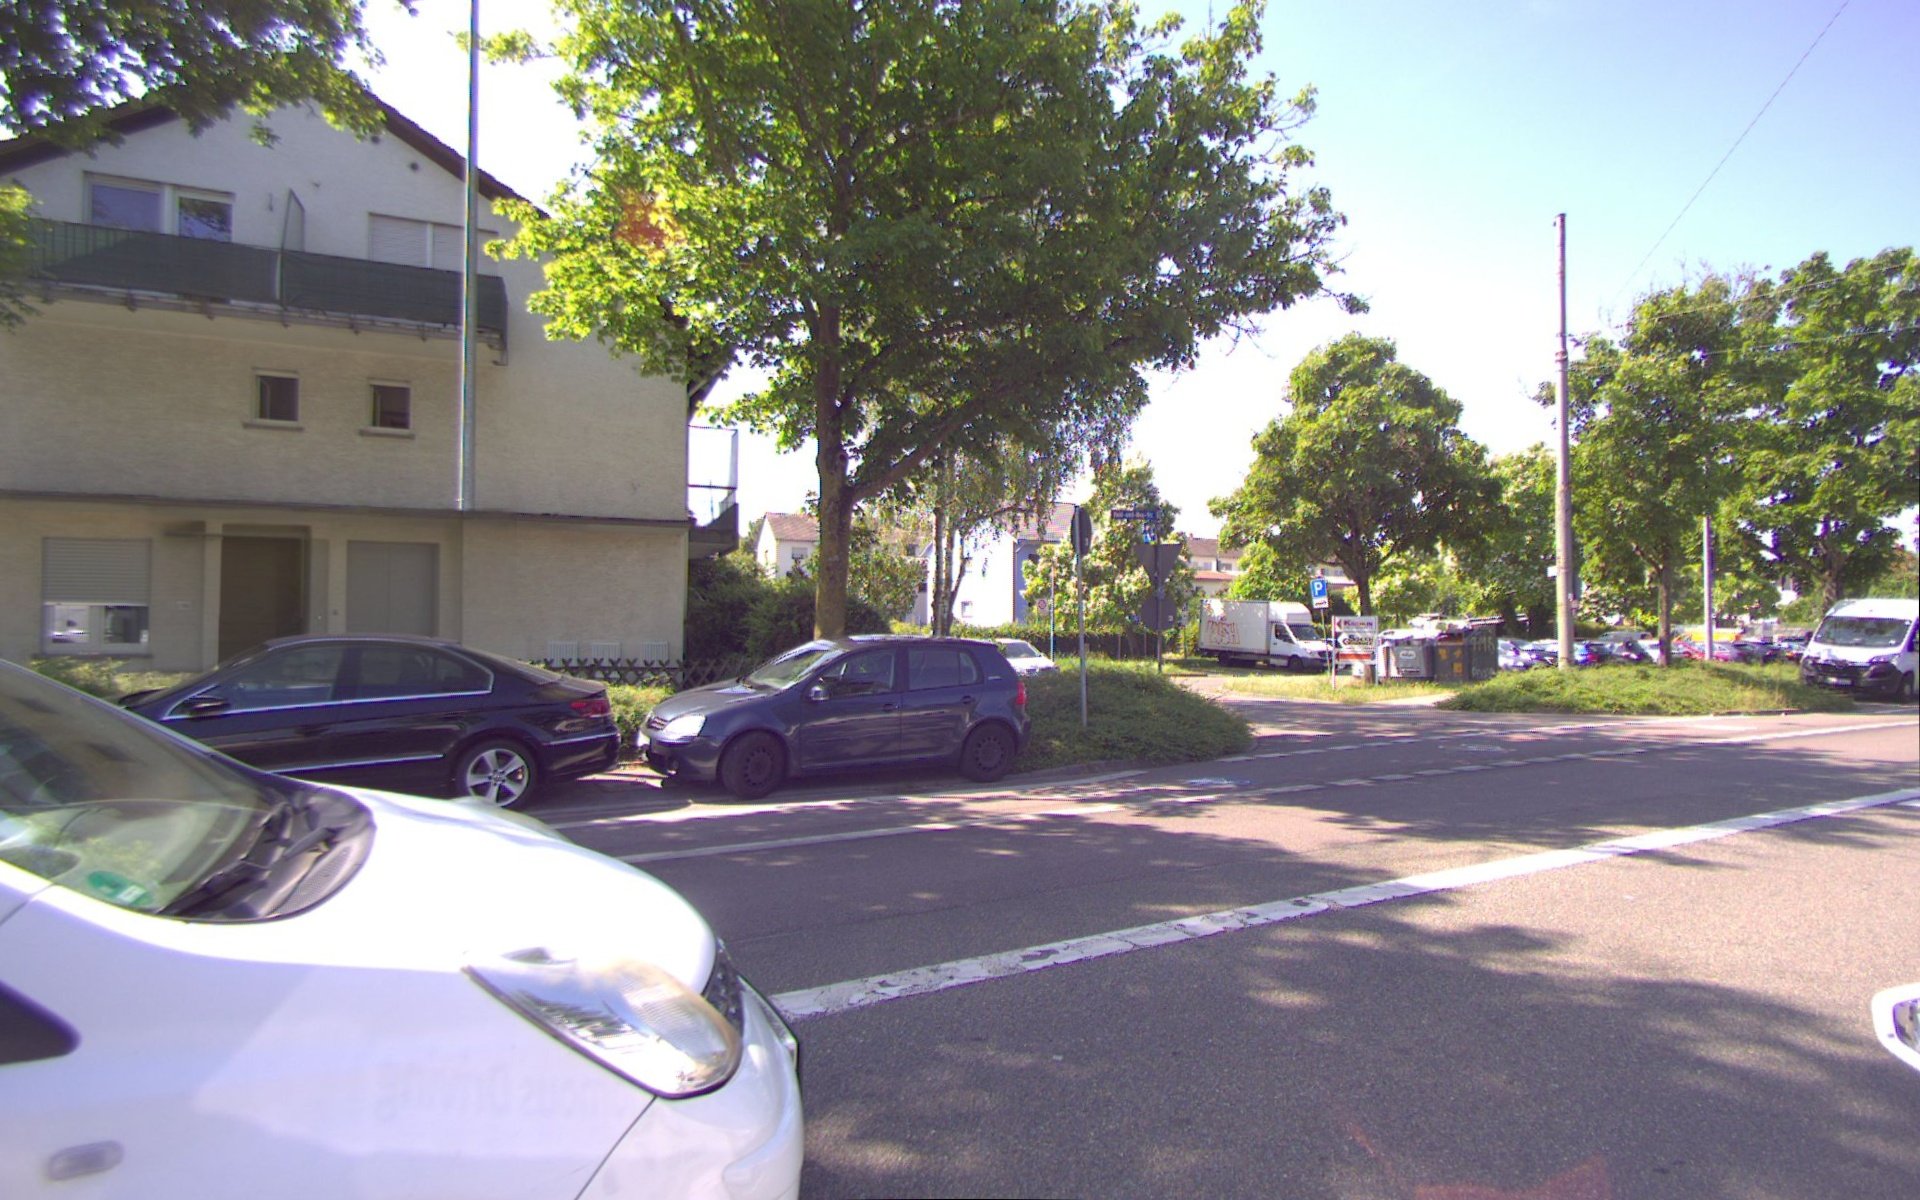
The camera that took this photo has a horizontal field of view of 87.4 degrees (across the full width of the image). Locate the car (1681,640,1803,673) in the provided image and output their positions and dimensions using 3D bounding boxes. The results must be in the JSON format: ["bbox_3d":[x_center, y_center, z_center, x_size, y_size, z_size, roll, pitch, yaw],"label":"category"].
[{"bbox_3d":[34.934,2.527,44.968,1.712,1.434,3.964,2,-4,-33],"label":"car"}]

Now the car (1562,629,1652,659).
[{"bbox_3d":[44.549,2.984,69.273,2.043,1.811,4.762,2,0,-34],"label":"car"}]

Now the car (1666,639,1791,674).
[{"bbox_3d":[33.176,2.443,43.457,1.712,1.434,3.964,2,-4,-33],"label":"car"}]

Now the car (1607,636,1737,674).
[{"bbox_3d":[28.843,2.240,40.787,1.712,1.434,3.964,2,-4,-33],"label":"car"}]

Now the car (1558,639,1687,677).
[{"bbox_3d":[26.364,2.325,40.099,1.712,1.434,3.964,2,-4,-33],"label":"car"}]

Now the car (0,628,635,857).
[{"bbox_3d":[-5.256,1.002,8.356,4.568,1.434,1.854,1,0,-31],"label":"car"}]

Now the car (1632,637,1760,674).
[{"bbox_3d":[30.754,2.330,42.087,1.712,1.434,3.964,2,-4,-33],"label":"car"}]

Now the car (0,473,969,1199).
[{"bbox_3d":[-2.335,0.635,1.229,4.493,1.568,1.654,1,-1,-30],"label":"car"}]

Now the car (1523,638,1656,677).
[{"bbox_3d":[24.184,2.209,38.718,1.712,1.434,3.964,2,-4,-33],"label":"car"}]

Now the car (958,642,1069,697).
[{"bbox_3d":[1.424,1.931,28.445,1.704,1.434,3.983,1,-3,-20],"label":"car"}]

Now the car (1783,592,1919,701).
[{"bbox_3d":[23.806,1.138,25.779,5.745,2.550,2.114,1,0,-29],"label":"car"}]

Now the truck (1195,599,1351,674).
[{"bbox_3d":[14.429,1.611,46.843,2.646,3.151,6.967,1,0,-30],"label":"truck"}]

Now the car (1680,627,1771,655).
[{"bbox_3d":[54.438,2.900,71.547,2.043,1.811,4.762,2,0,-34],"label":"car"}]

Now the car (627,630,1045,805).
[{"bbox_3d":[-1.261,1.092,10.488,3.988,1.462,1.718,1,0,-28],"label":"car"}]

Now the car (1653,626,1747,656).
[{"bbox_3d":[50.576,2.769,68.732,2.043,1.811,4.762,2,0,-34],"label":"car"}]

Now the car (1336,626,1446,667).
[{"bbox_3d":[21.649,2.319,50.674,2.043,1.811,4.762,2,0,-34],"label":"car"}]

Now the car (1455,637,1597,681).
[{"bbox_3d":[19.708,2.072,35.127,1.712,1.434,3.964,2,-4,-33],"label":"car"}]

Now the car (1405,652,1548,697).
[{"bbox_3d":[17.336,2.486,33.903,1.712,1.434,3.964,2,-4,-33],"label":"car"}]

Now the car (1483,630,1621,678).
[{"bbox_3d":[21.458,1.969,36.533,1.712,1.631,3.964,2,-4,-33],"label":"car"}]
